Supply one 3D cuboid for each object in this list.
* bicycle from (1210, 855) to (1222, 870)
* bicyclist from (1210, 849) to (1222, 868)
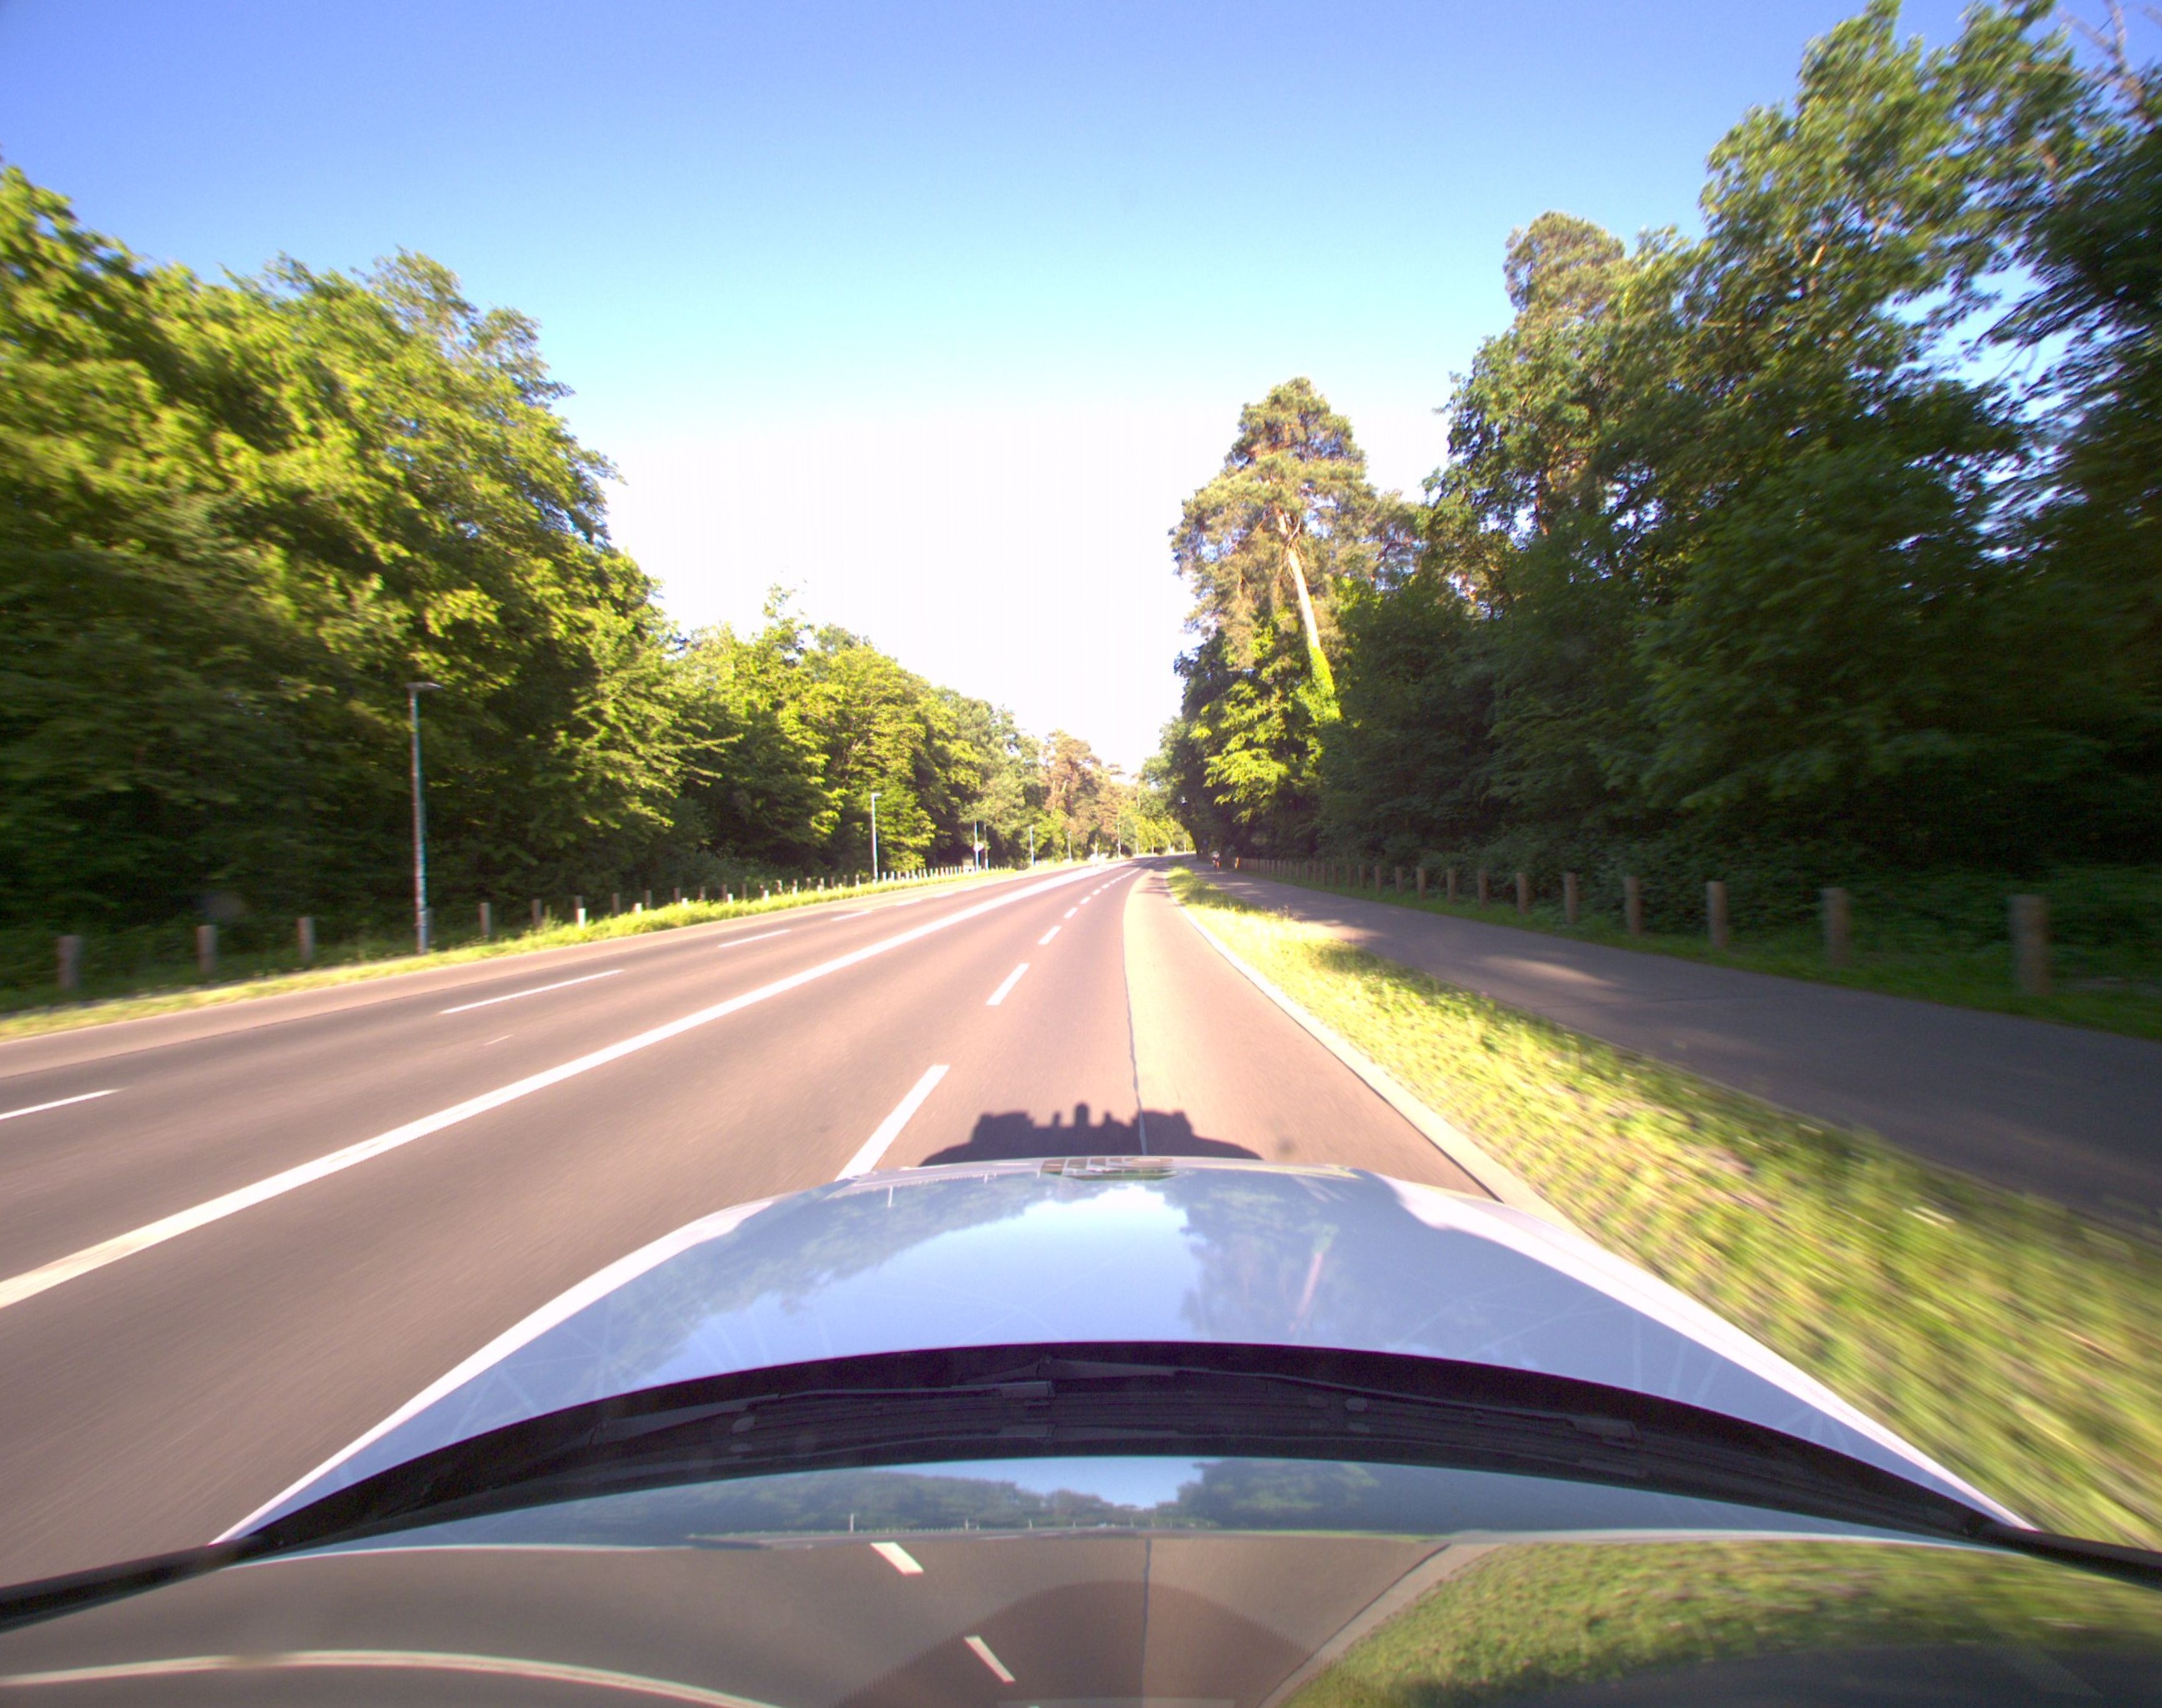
[{"bbox_3d":[9.379,0.589,56.595,0.708,1.056,2.056,-2,-1,6],"label":"bicycle"},{"bbox_3d":[9.378,0.290,56.627,0.708,1.289,1.106,-2,-1,6],"label":"bicyclist"}]
